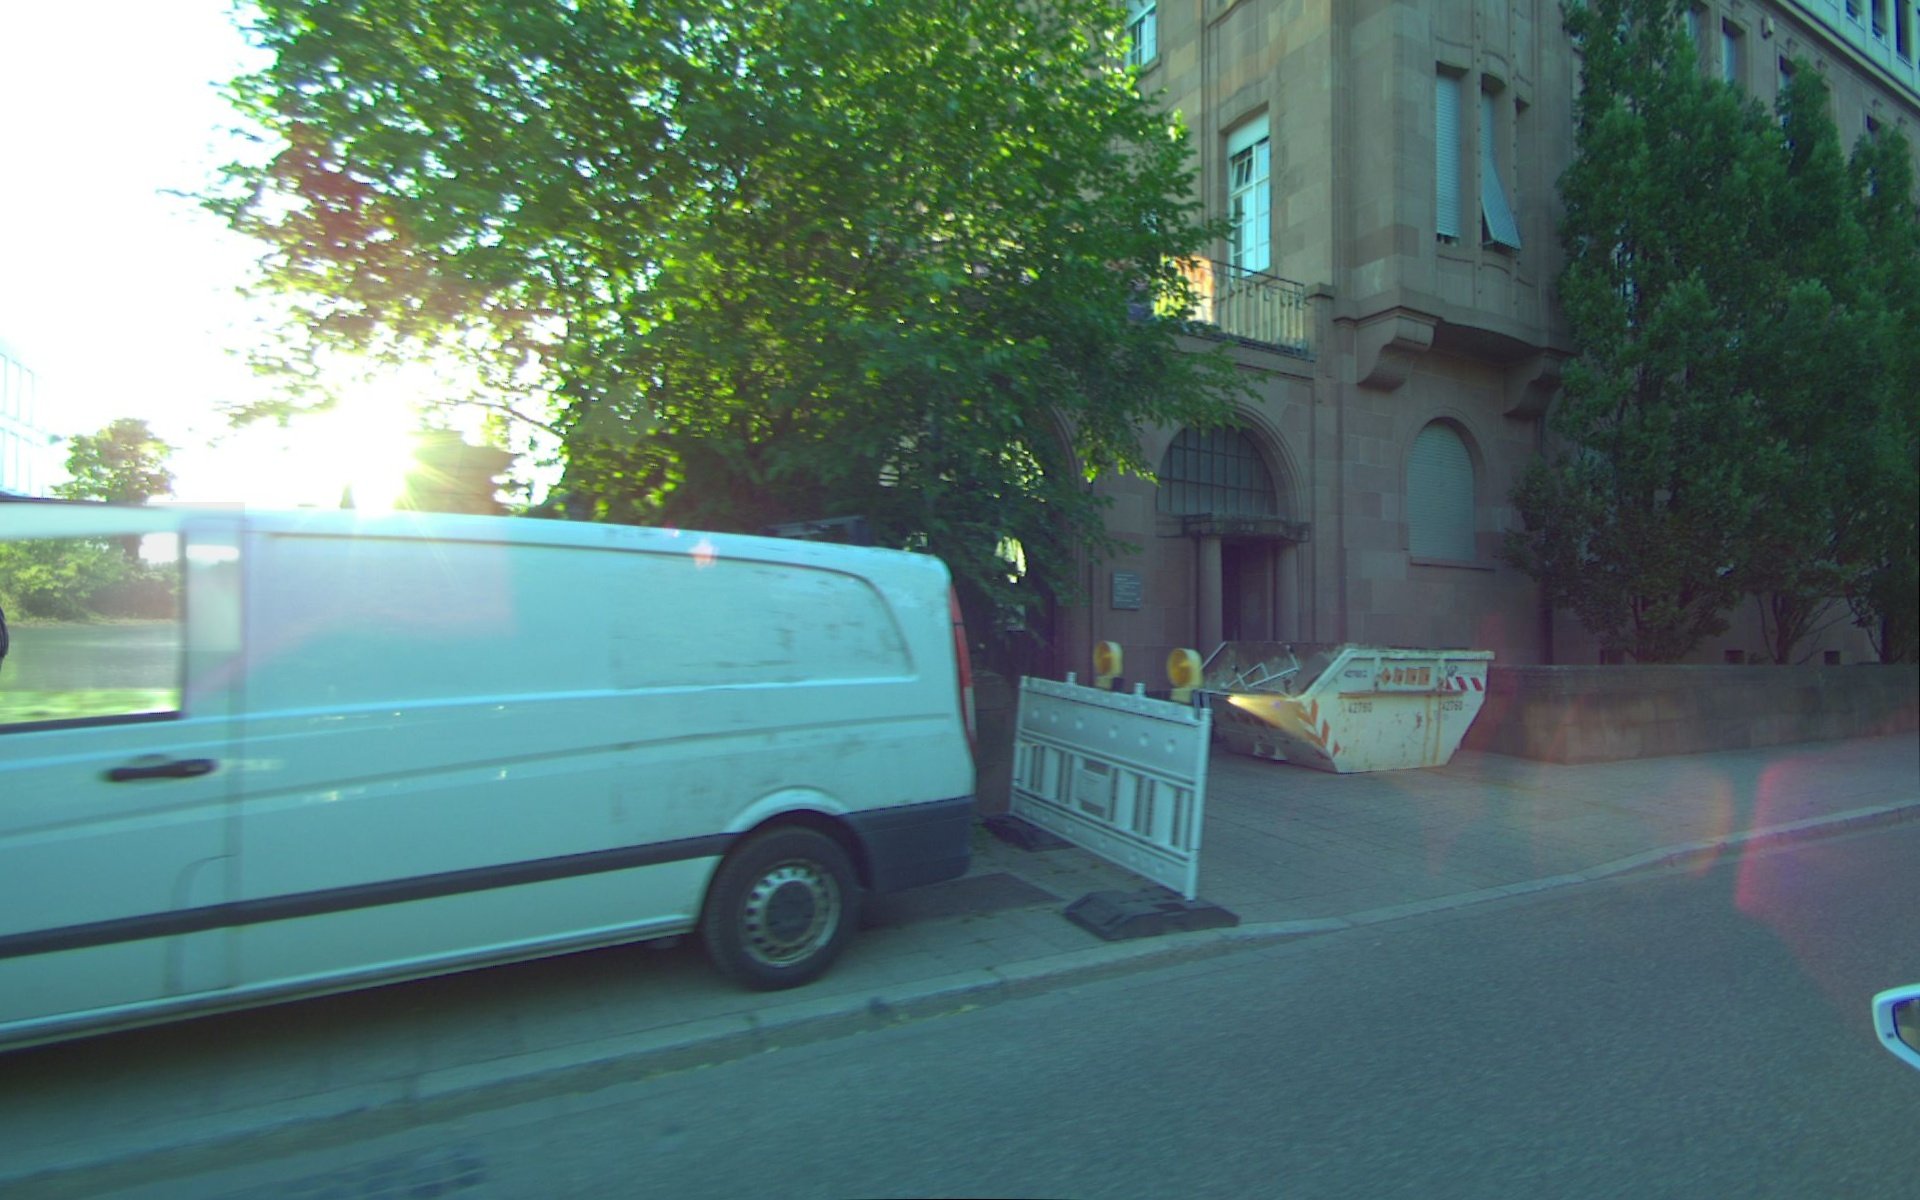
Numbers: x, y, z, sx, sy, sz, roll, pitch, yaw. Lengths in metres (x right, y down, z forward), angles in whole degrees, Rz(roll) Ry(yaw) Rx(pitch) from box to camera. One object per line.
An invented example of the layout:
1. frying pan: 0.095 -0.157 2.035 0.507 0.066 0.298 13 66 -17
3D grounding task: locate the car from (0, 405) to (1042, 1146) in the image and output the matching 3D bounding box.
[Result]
1. car: -2.320 0.499 4.062 5.168 2.040 1.872 2 0 -32
